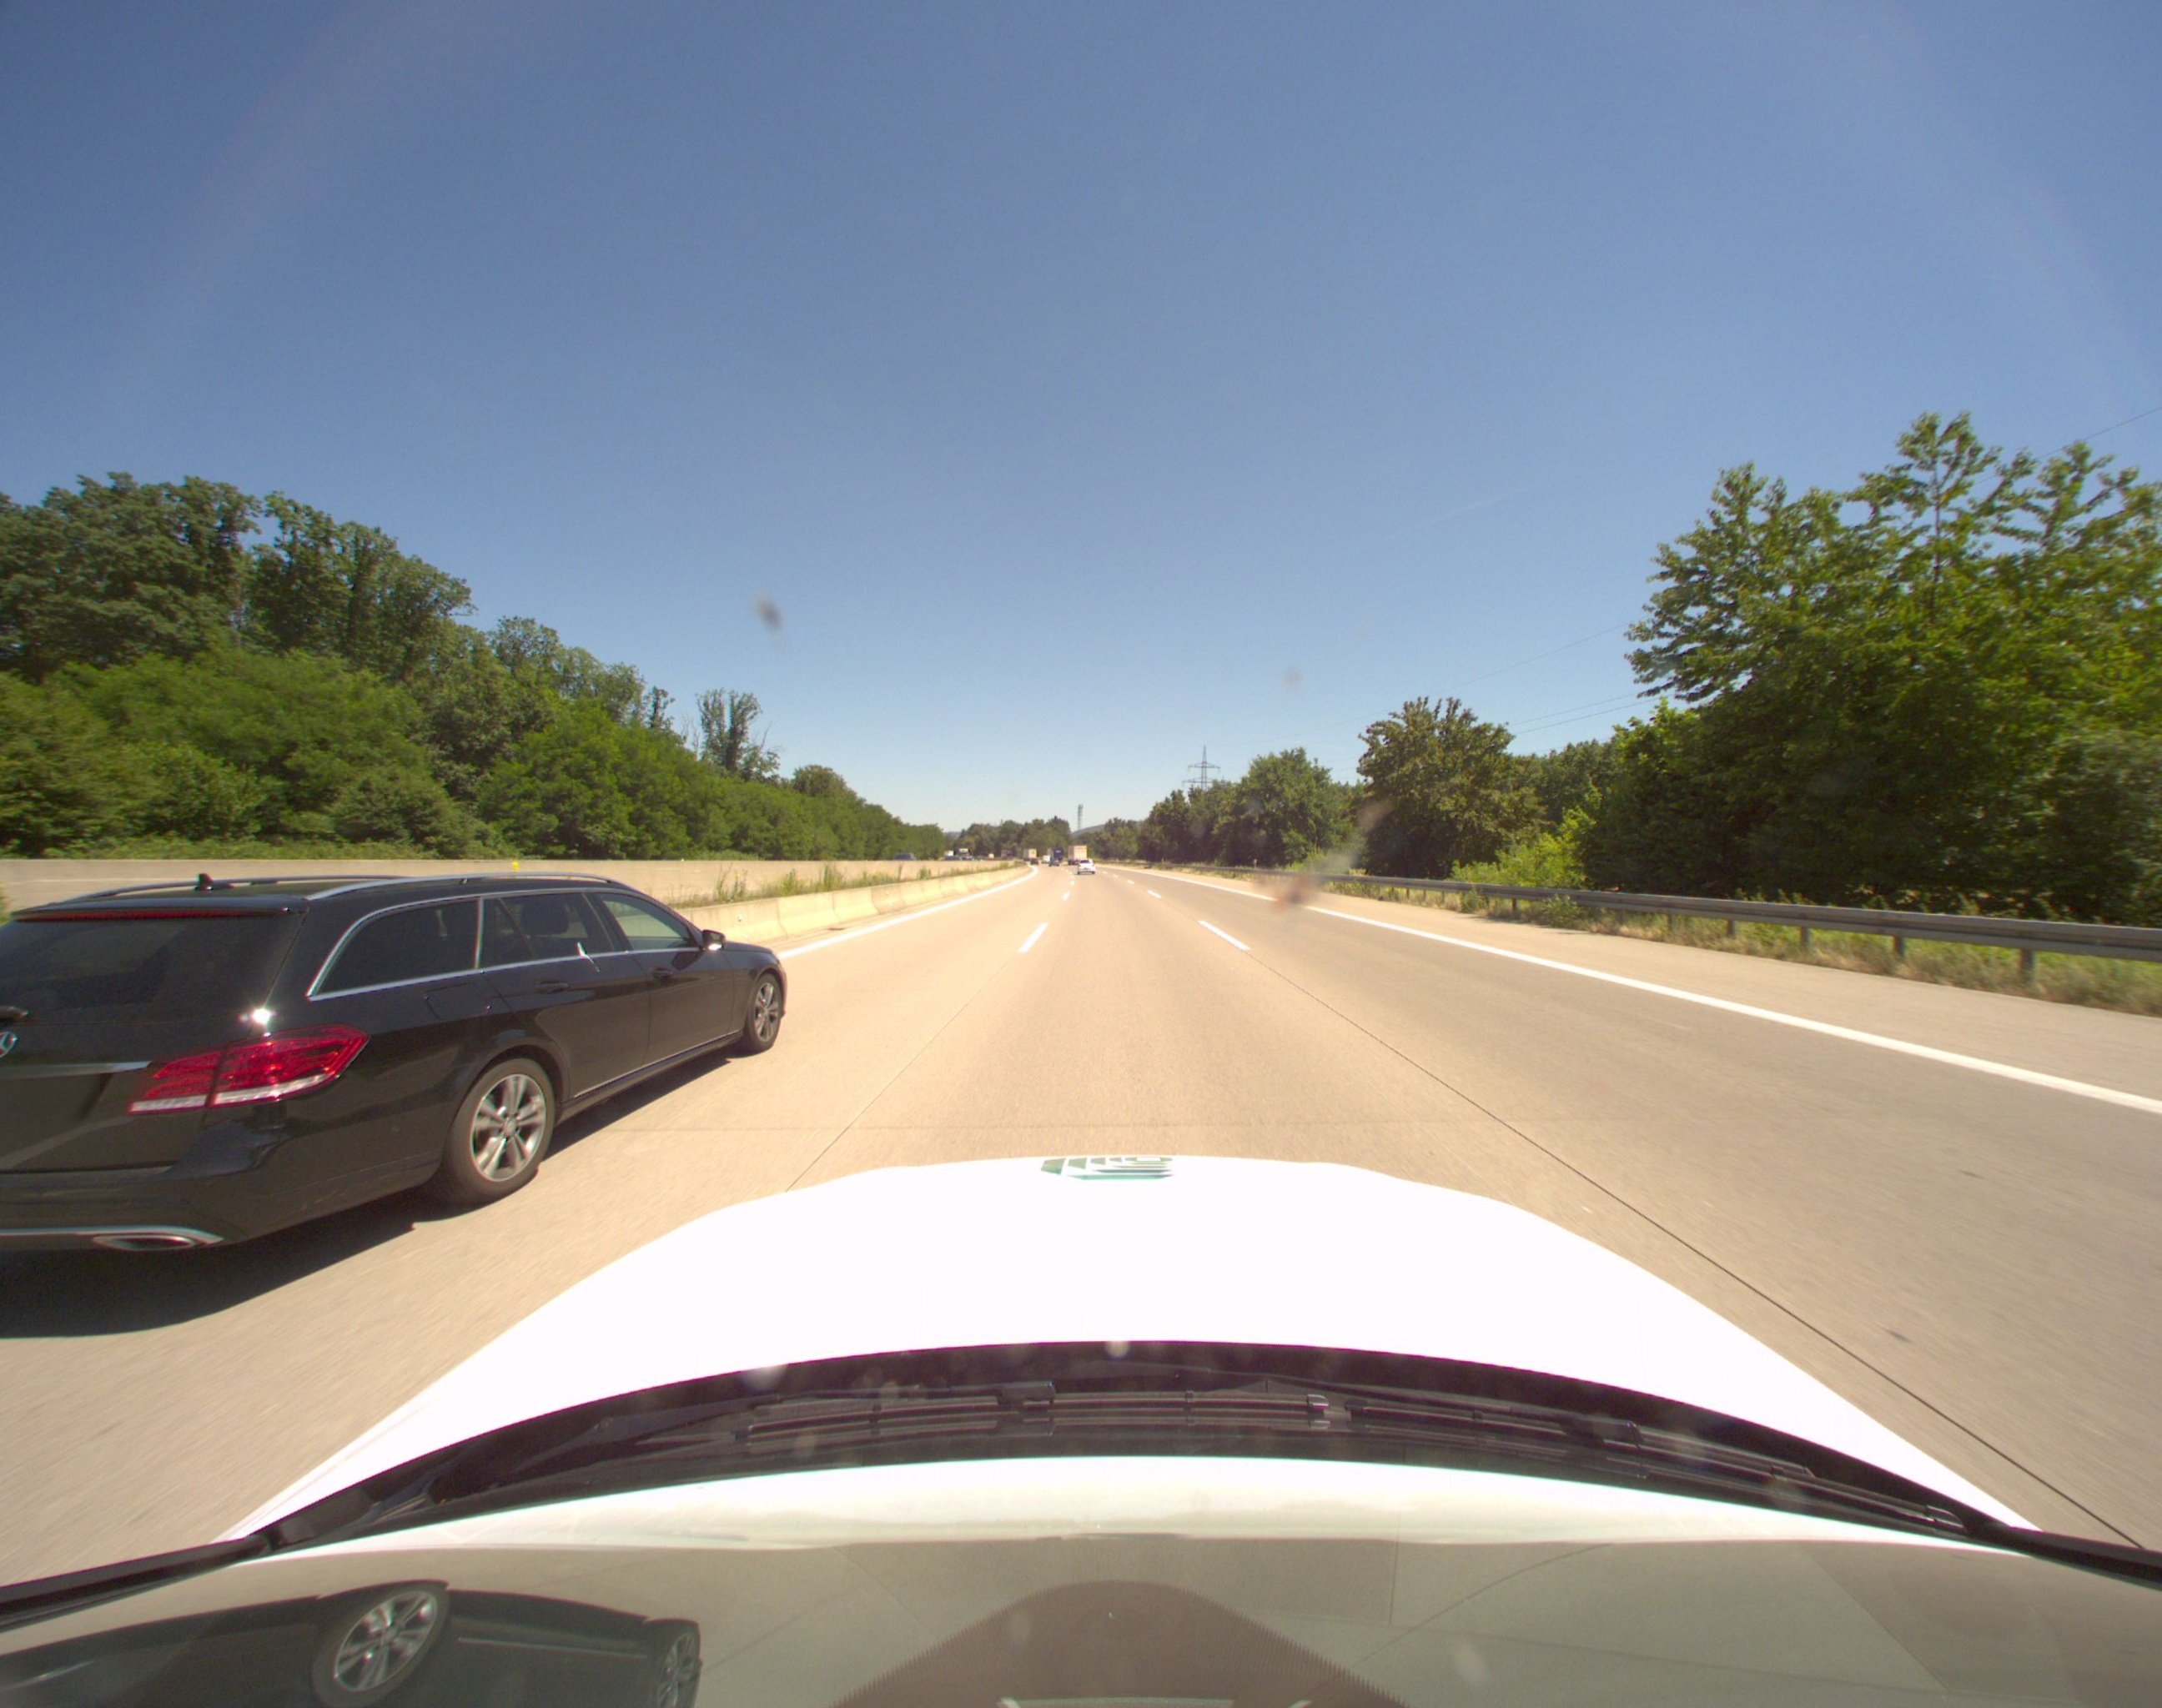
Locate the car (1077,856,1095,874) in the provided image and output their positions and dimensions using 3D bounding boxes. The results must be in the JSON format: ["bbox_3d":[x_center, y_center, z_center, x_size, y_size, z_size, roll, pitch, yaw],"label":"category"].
[{"bbox_3d":[0.528,1.111,81.242,1.636,1.662,3.360,3,0,0],"label":"car"}]

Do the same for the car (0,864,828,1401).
[{"bbox_3d":[-3.517,0.848,5.161,1.883,1.473,5.606,-1,0,2],"label":"car"}]

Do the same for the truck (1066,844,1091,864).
[{"bbox_3d":[-0.615,0.000,168.878,3.815,3.889,14.122,-1,0,-6],"label":"truck"}]

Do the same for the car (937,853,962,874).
[{"bbox_3d":[-12.513,0.913,77.798,1.653,1.922,4.007,0,0,1],"label":"car"}]

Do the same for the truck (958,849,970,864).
[{"bbox_3d":[-32.693,0.656,227.568,2.661,3.935,5.958,-1,0,-5],"label":"truck"}]

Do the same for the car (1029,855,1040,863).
[{"bbox_3d":[-10.623,1.172,184.666,2.022,1.700,3.988,4,0,-9],"label":"car"}]

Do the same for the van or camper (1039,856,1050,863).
[{"bbox_3d":[-9.196,1.396,205.726,1.871,1.838,3.979,-1,0,-15],"label":"van or camper"}]

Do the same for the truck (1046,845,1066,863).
[{"bbox_3d":[-6.923,0.140,221.231,3.905,4.741,14.010,-1,0,-8],"label":"truck"}]

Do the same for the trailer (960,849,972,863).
[{"bbox_3d":[-33.174,0.637,234.834,2.678,3.935,13.222,-1,0,-5],"label":"trailer"}]

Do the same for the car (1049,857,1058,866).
[{"bbox_3d":[-5.358,1.381,156.798,1.607,1.725,3.567,-1,0,-4],"label":"car"}]
